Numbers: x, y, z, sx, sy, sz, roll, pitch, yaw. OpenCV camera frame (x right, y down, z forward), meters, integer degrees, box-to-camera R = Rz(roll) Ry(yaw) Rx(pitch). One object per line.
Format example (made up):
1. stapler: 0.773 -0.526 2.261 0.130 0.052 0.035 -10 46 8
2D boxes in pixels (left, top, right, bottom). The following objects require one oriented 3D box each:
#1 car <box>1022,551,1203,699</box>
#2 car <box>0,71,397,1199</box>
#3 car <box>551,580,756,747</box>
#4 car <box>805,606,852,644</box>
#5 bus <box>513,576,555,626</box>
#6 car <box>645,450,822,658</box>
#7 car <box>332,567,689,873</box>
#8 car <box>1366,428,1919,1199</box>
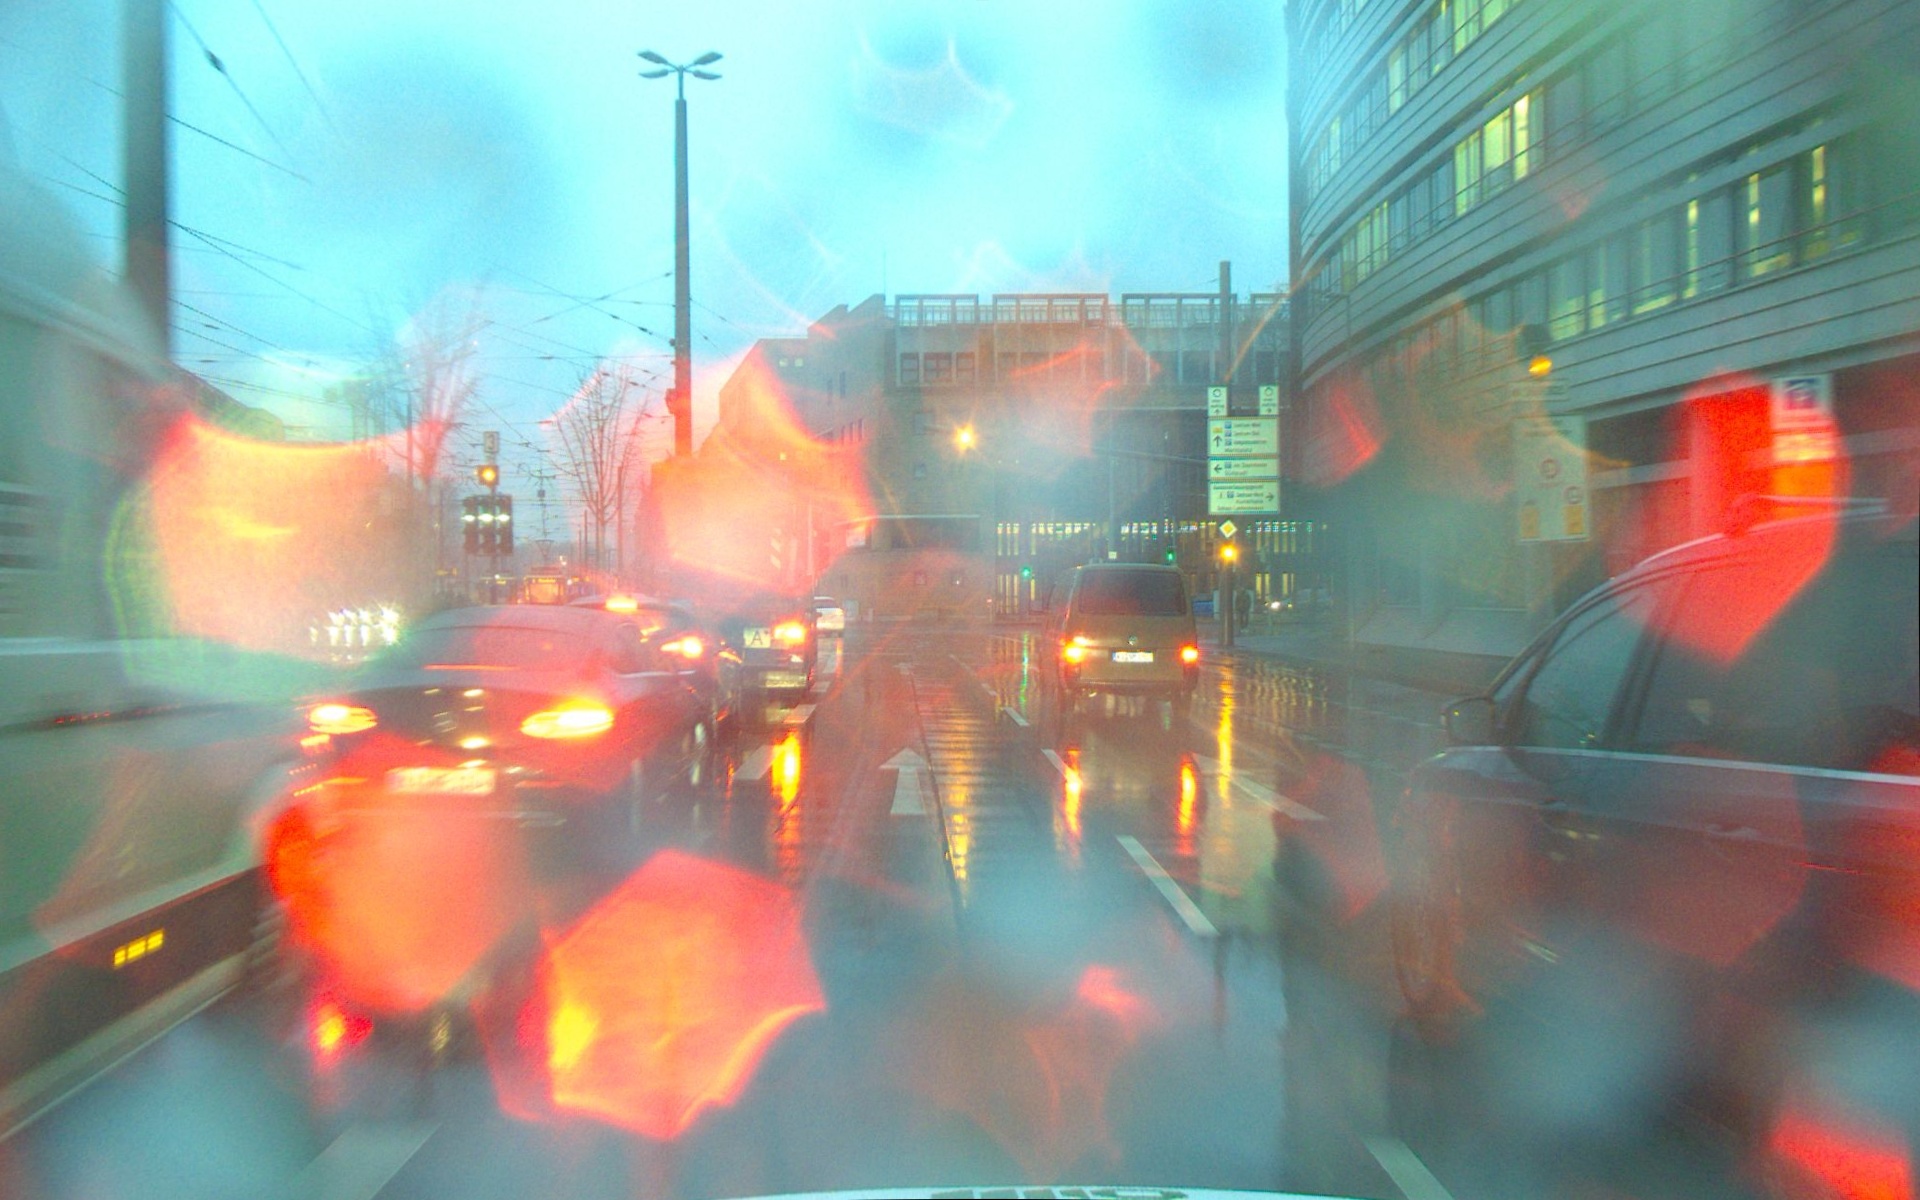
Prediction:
1. car: 1.979 0.300 22.798 1.807 1.837 4.483 0 0 -4
2. car: -2.910 0.178 3.376 1.955 2.470 5.967 0 0 -5
3. car: -3.078 0.593 17.295 1.671 1.535 3.996 0 0 -4
4. car: -4.835 0.900 61.262 1.480 1.328 3.040 0 0 0
5. bus: -30.132 0.062 117.220 2.775 3.431 7.971 0 0 -14
6. car: -3.407 -0.634 26.176 2.308 2.876 6.354 0 0 -4
7. car: -2.580 0.627 10.199 1.488 1.547 3.467 0 -1 -5
8. car: 2.498 0.592 4.734 1.640 1.811 3.999 0 0 -1
